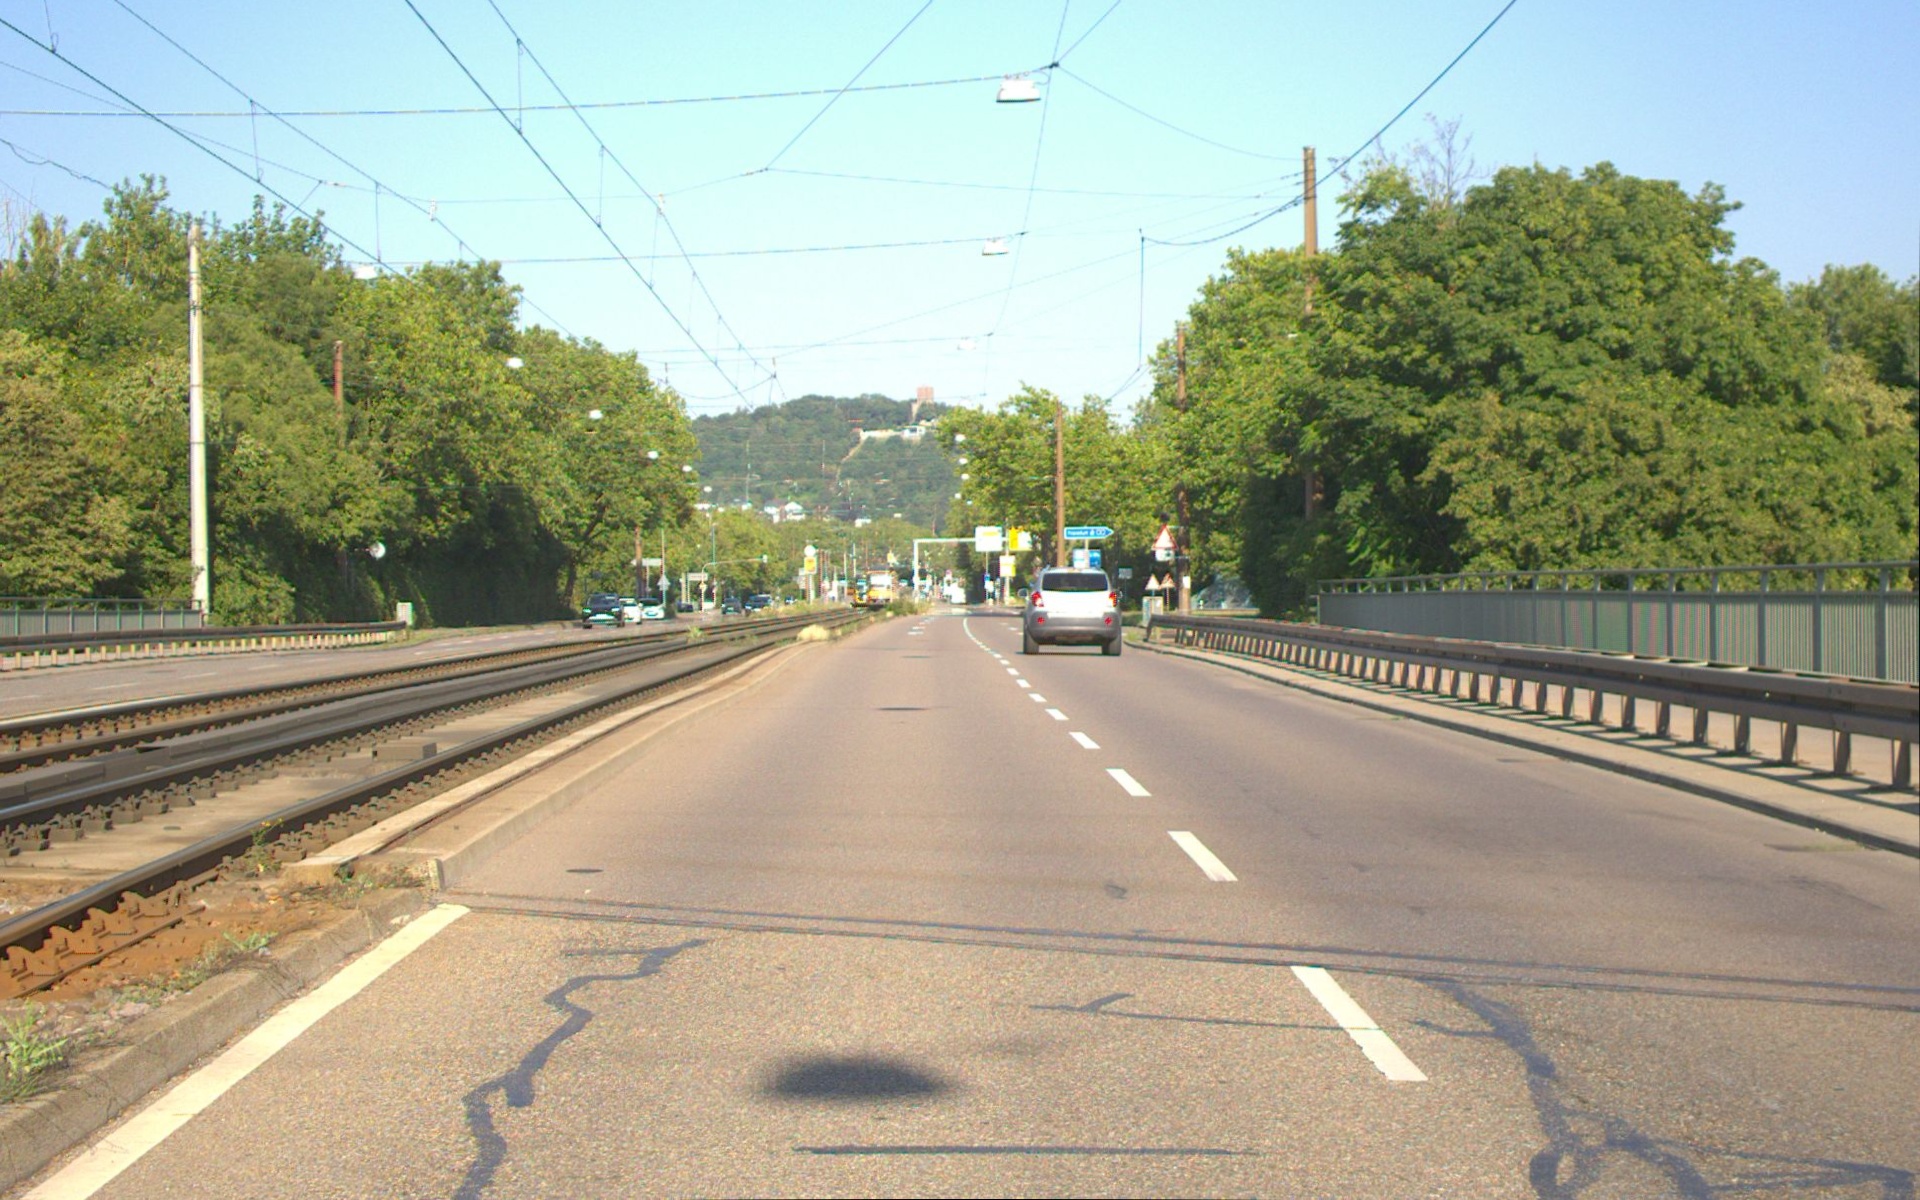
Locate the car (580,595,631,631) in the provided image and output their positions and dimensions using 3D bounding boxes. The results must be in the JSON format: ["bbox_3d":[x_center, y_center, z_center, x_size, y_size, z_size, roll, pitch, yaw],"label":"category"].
[{"bbox_3d":[-16.720,0.617,162.361,1.993,1.612,4.000,2,0,-1],"label":"car"}]

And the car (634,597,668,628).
[{"bbox_3d":[-21.525,0.867,239.557,1.987,2.050,3.946,2,0,-1],"label":"car"}]

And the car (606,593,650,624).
[{"bbox_3d":[-18.026,0.441,186.798,1.993,1.612,4.000,2,0,-1],"label":"car"}]

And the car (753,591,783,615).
[{"bbox_3d":[-13.890,0.199,249.102,1.993,1.612,4.000,2,0,-1],"label":"car"}]

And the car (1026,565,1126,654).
[{"bbox_3d":[2.272,0.168,67.417,1.888,1.688,4.256,0,0,2],"label":"car"}]
